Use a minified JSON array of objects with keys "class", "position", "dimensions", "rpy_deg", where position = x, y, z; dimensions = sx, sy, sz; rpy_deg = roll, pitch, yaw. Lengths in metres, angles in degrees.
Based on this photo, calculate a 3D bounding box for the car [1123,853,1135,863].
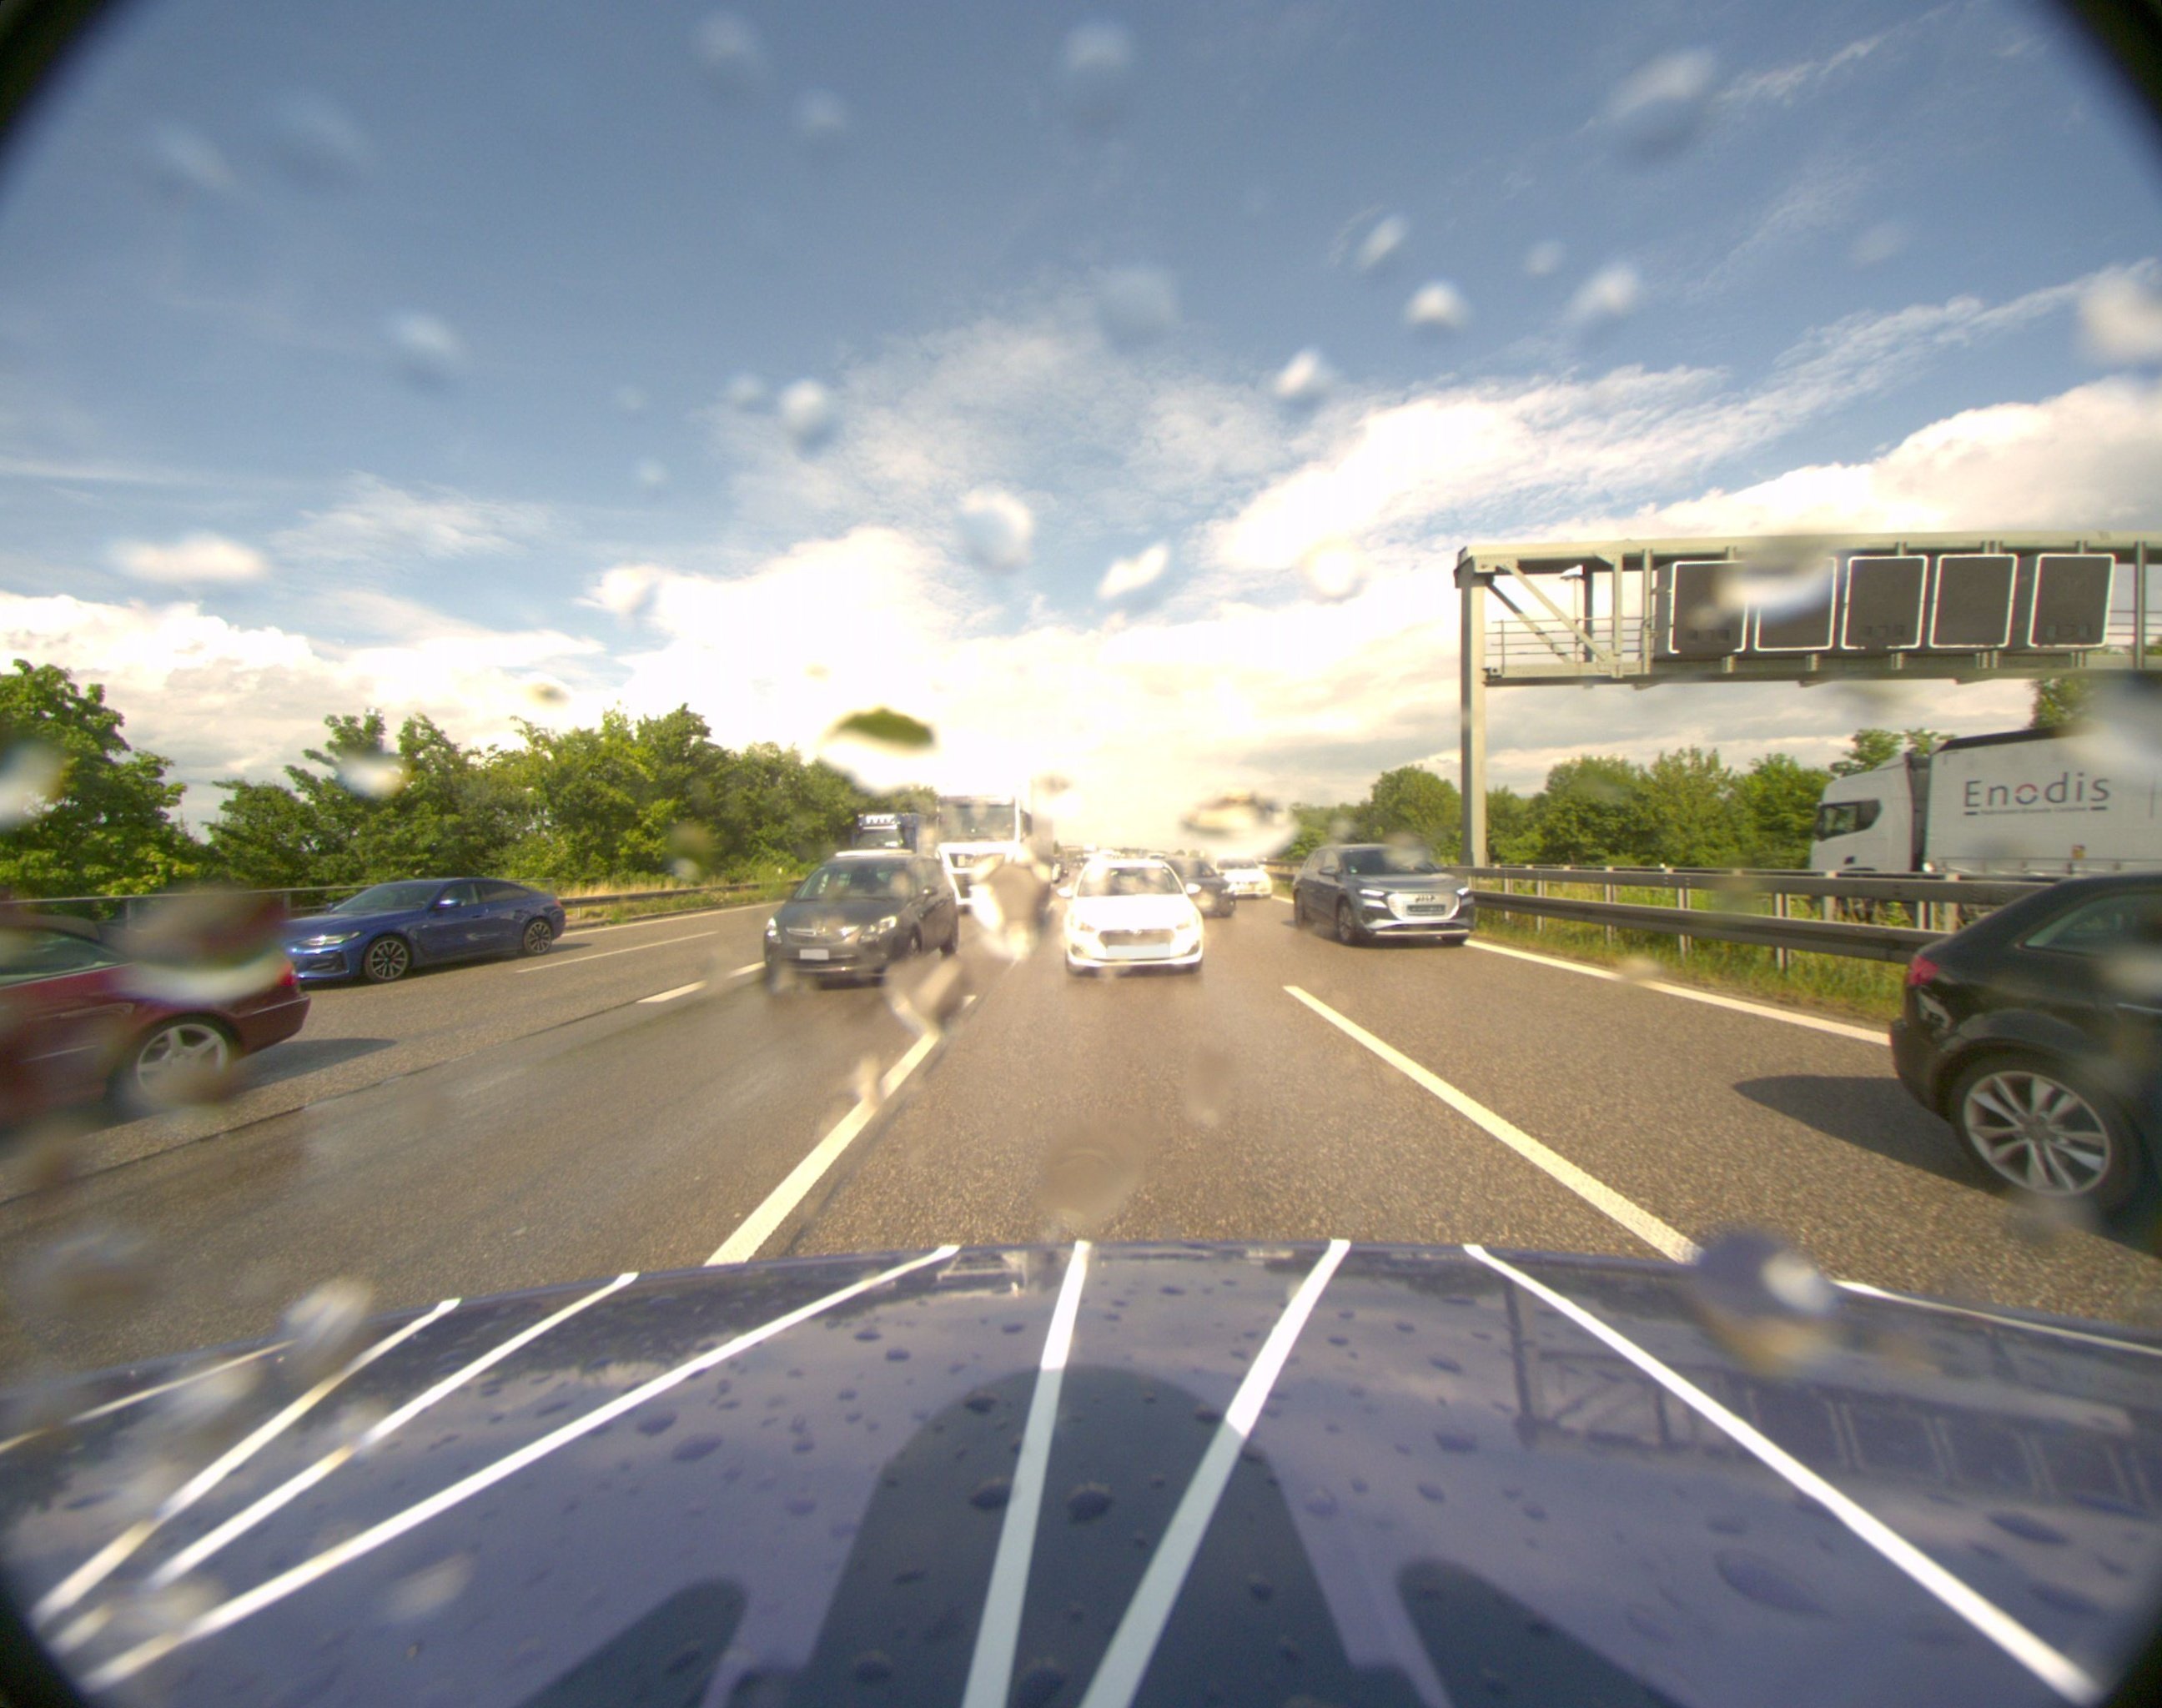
[{"class":"car","position":[9.023,0.644,142.179],"dimensions":[1.998,1.687,3.999],"rpy_deg":[-3,1,1]}]

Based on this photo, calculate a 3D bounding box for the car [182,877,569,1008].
[{"class":"car","position":[-10.551,1.204,11.982],"dimensions":[1.791,1.454,4.505],"rpy_deg":[-2,0,1]}]

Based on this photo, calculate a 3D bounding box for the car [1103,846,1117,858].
[{"class":"car","position":[4.410,-0.387,116.537],"dimensions":[1.998,1.687,3.999],"rpy_deg":[-3,1,1]}]

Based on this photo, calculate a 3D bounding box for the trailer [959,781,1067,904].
[{"class":"trailer","position":[-2.431,-0.429,31.663],"dimensions":[2.790,4.082,11.539],"rpy_deg":[-2,1,3]}]

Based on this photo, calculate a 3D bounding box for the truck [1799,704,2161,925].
[{"class":"truck","position":[20.071,-0.760,15.819],"dimensions":[2.869,3.799,7.876],"rpy_deg":[-1,1,1]}]

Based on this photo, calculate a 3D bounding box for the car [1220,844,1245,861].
[{"class":"car","position":[18.646,-0.236,93.668],"dimensions":[1.998,2.002,5.558],"rpy_deg":[-1,0,0]}]

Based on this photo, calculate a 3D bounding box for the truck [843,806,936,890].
[{"class":"truck","position":[-9.621,-0.324,38.944],"dimensions":[3.112,3.931,5.866],"rpy_deg":[-1,1,1]}]

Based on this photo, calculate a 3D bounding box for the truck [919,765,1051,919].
[{"class":"truck","position":[-2.765,-0.358,24.390],"dimensions":[2.817,4.082,7.446],"rpy_deg":[-2,1,3]}]

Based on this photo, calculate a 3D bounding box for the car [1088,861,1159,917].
[{"class":"car","position":[1.094,0.890,21.146],"dimensions":[1.729,1.330,4.287],"rpy_deg":[-1,0,1]}]

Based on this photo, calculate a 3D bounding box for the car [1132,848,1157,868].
[{"class":"car","position":[5.909,0.368,70.864],"dimensions":[1.998,1.687,3.999],"rpy_deg":[-3,1,1]}]

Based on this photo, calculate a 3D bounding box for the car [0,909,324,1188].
[{"class":"car","position":[-6.842,1.163,3.656],"dimensions":[1.756,1.402,4.511],"rpy_deg":[-2,0,2]}]

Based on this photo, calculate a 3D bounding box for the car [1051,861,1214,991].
[{"class":"car","position":[0.641,0.877,11.246],"dimensions":[1.886,1.446,4.548],"rpy_deg":[-1,0,1]}]

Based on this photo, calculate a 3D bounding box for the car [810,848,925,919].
[{"class":"car","position":[-6.326,0.783,23.213],"dimensions":[1.955,1.875,5.167],"rpy_deg":[-1,1,1]}]

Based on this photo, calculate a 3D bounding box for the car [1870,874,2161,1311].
[{"class":"car","position":[4.518,0.834,1.459],"dimensions":[1.771,1.417,4.139],"rpy_deg":[-2,0,2]}]

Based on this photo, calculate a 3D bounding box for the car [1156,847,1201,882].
[{"class":"car","position":[5.499,0.561,43.407],"dimensions":[1.998,1.739,3.999],"rpy_deg":[-3,1,1]}]

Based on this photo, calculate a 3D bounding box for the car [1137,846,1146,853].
[{"class":"car","position":[16.324,-1.204,205.011],"dimensions":[1.998,1.768,4.461],"rpy_deg":[-1,0,1]}]

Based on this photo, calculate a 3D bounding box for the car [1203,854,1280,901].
[{"class":"car","position":[5.283,0.725,25.538],"dimensions":[1.771,1.371,3.999],"rpy_deg":[-1,1,1]}]

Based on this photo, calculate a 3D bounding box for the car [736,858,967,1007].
[{"class":"car","position":[-2.969,0.912,10.918],"dimensions":[1.883,1.638,4.396],"rpy_deg":[-1,0,1]}]

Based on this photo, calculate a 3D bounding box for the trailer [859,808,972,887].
[{"class":"trailer","position":[-9.553,-0.432,46.752],"dimensions":[3.112,3.931,16.339],"rpy_deg":[-1,1,1]}]

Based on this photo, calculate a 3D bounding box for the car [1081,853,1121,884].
[{"class":"car","position":[1.055,0.721,40.845],"dimensions":[1.998,1.477,3.999],"rpy_deg":[-1,1,1]}]

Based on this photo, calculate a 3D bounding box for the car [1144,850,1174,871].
[{"class":"car","position":[6.222,0.525,61.078],"dimensions":[1.998,1.471,3.999],"rpy_deg":[-3,1,1]}]

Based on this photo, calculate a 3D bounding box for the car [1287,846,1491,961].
[{"class":"car","position":[4.978,0.701,12.981],"dimensions":[1.875,1.597,4.229],"rpy_deg":[-2,0,2]}]
